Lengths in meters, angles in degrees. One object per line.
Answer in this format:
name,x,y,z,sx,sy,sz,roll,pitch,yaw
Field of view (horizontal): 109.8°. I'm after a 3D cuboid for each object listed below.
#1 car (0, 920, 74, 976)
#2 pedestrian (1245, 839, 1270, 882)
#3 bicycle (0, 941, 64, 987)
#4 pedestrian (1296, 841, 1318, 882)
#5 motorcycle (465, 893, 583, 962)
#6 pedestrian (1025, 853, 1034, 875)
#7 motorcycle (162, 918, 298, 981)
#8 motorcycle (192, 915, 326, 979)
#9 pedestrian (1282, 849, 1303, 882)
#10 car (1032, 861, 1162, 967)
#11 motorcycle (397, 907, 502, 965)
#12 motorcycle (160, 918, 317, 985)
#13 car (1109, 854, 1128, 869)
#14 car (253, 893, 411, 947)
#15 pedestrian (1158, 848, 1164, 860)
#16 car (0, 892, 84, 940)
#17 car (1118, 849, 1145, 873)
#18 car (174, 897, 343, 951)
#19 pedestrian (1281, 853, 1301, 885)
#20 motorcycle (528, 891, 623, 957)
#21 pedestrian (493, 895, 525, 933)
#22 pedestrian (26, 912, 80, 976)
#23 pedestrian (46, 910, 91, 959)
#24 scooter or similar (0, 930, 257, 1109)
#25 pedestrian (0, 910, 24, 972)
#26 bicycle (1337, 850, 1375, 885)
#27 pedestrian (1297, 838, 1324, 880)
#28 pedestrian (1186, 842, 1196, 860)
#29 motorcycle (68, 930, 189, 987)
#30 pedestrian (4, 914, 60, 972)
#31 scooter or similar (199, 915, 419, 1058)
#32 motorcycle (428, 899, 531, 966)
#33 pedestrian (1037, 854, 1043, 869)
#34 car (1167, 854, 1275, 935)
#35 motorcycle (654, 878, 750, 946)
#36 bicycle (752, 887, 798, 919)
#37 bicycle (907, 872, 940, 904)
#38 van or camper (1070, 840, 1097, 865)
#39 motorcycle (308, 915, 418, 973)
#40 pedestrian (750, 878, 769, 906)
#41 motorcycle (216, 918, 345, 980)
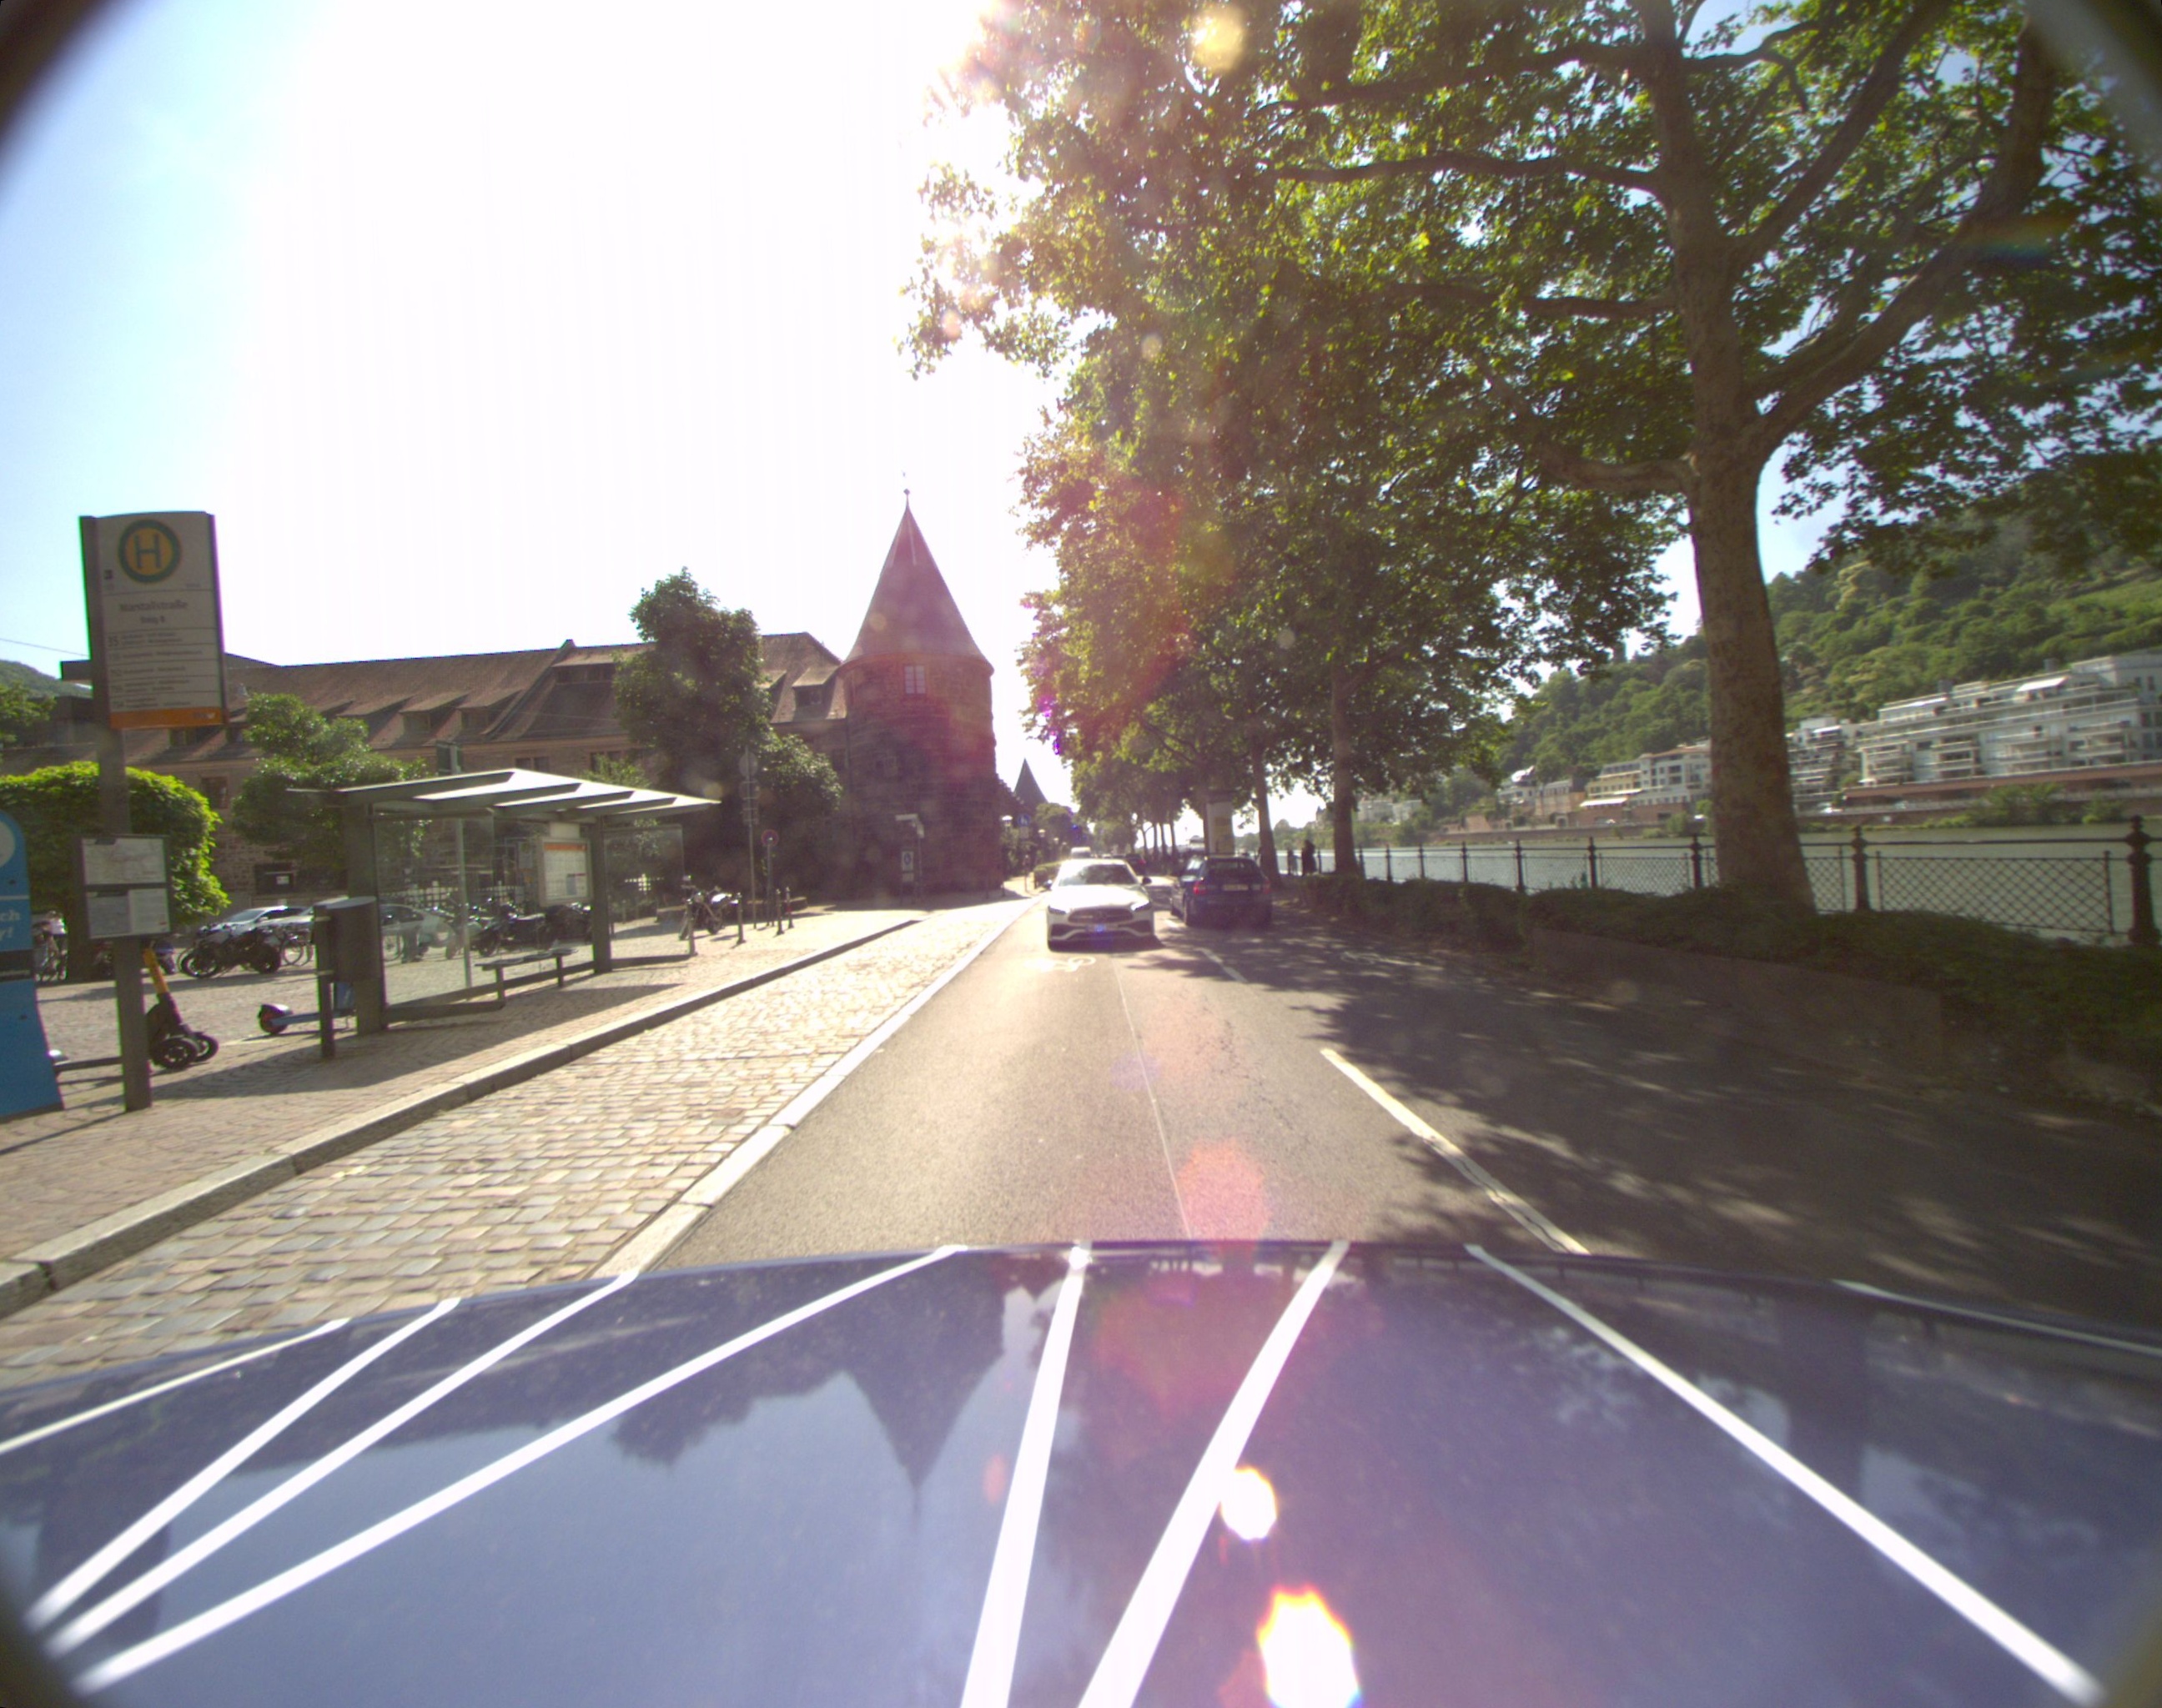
car,-35.014,3.023,24.054,4.138,1.521,1.800,-2,2,6
pedestrian,7.352,0.280,31.649,0.760,1.720,0.730,-3,1,0
bicycle,-26.746,2.773,19.002,0.422,1.008,1.714,-3,-1,-5
pedestrian,9.244,0.312,31.114,0.633,1.618,0.553,-3,1,0
motorcycle,-12.110,1.557,16.627,0.740,1.229,2.272,-3,1,3
pedestrian,-4.282,0.815,63.372,0.556,1.844,1.023,-3,1,1
motorcycle,-20.581,2.281,18.436,0.598,1.229,2.049,-3,1,27
motorcycle,-19.884,2.219,18.444,0.598,1.229,2.049,-3,1,26
pedestrian,8.694,0.457,31.247,0.633,1.312,0.553,-3,1,0
car,0.279,0.918,13.626,1.875,1.416,4.744,-2,0,1
motorcycle,-14.831,1.899,17.930,0.877,1.088,1.904,-3,1,-3
motorcycle,-17.706,2.035,16.005,2.342,1.140,0.878,-4,1,4
car,4.406,0.851,90.526,1.998,1.598,4.257,-3,1,0
car,-31.326,2.699,32.025,1.998,1.608,4.425,-3,3,4
pedestrian,11.210,-0.040,106.460,0.760,1.696,0.730,-3,1,3
car,-53.533,3.158,37.244,1.998,2.111,5.394,-3,1,2
car,3.828,0.515,58.300,1.875,1.661,4.745,-2,0,1
car,-34.467,2.888,32.063,1.998,1.608,4.425,-3,3,4
pedestrian,8.736,0.619,31.577,0.633,1.312,0.553,-3,1,0
motorcycle,-11.218,1.520,16.983,0.660,1.229,2.215,-3,1,-3
pedestrian,-22.120,2.321,29.406,0.660,1.413,0.675,-3,3,31
pedestrian,-29.430,2.577,21.762,0.661,1.730,0.606,-3,0,5
pedestrian,-38.335,3.036,28.781,0.661,1.730,0.711,-3,0,5
scooter or similar,-7.886,1.328,6.228,1.434,1.208,0.652,-5,1,0
pedestrian,-31.120,2.506,21.757,0.661,1.730,0.674,-3,0,5
bicycle,9.577,0.451,26.520,0.564,1.146,1.844,-5,1,0
pedestrian,9.432,0.206,31.203,0.793,1.674,0.709,-3,1,0
pedestrian,10.812,-0.267,74.631,0.760,1.697,0.730,-3,1,0
motorcycle,-23.002,2.489,18.403,0.599,1.153,1.917,-3,-1,-5
pedestrian,-31.033,2.619,22.480,0.661,1.620,0.674,-3,0,5
scooter or similar,-7.777,1.316,7.703,1.434,1.208,0.652,-5,1,0
motorcycle,-13.019,1.670,16.521,0.671,1.224,1.807,-4,0,3
pedestrian,-4.487,0.808,83.032,0.592,1.662,0.441,-3,1,0
car,2.931,0.778,16.783,1.705,1.509,4.404,0,1,2
motorcycle,-8.305,1.230,16.805,0.885,1.285,2.527,-5,0,-3
bicycle,-11.053,1.770,27.499,0.659,0.996,1.714,-4,0,10
bicycle,-6.283,1.356,30.419,0.845,1.146,1.844,-3,1,0
van or camper,0.240,-0.184,75.920,2.437,2.271,6.203,-3,1,0
motorcycle,-15.878,1.964,16.884,0.631,1.074,1.929,-3,-1,-3
pedestrian,-14.508,1.702,34.263,0.667,1.224,0.781,-4,1,-20
motorcycle,-18.884,2.221,18.005,0.742,1.138,2.020,-5,1,3
